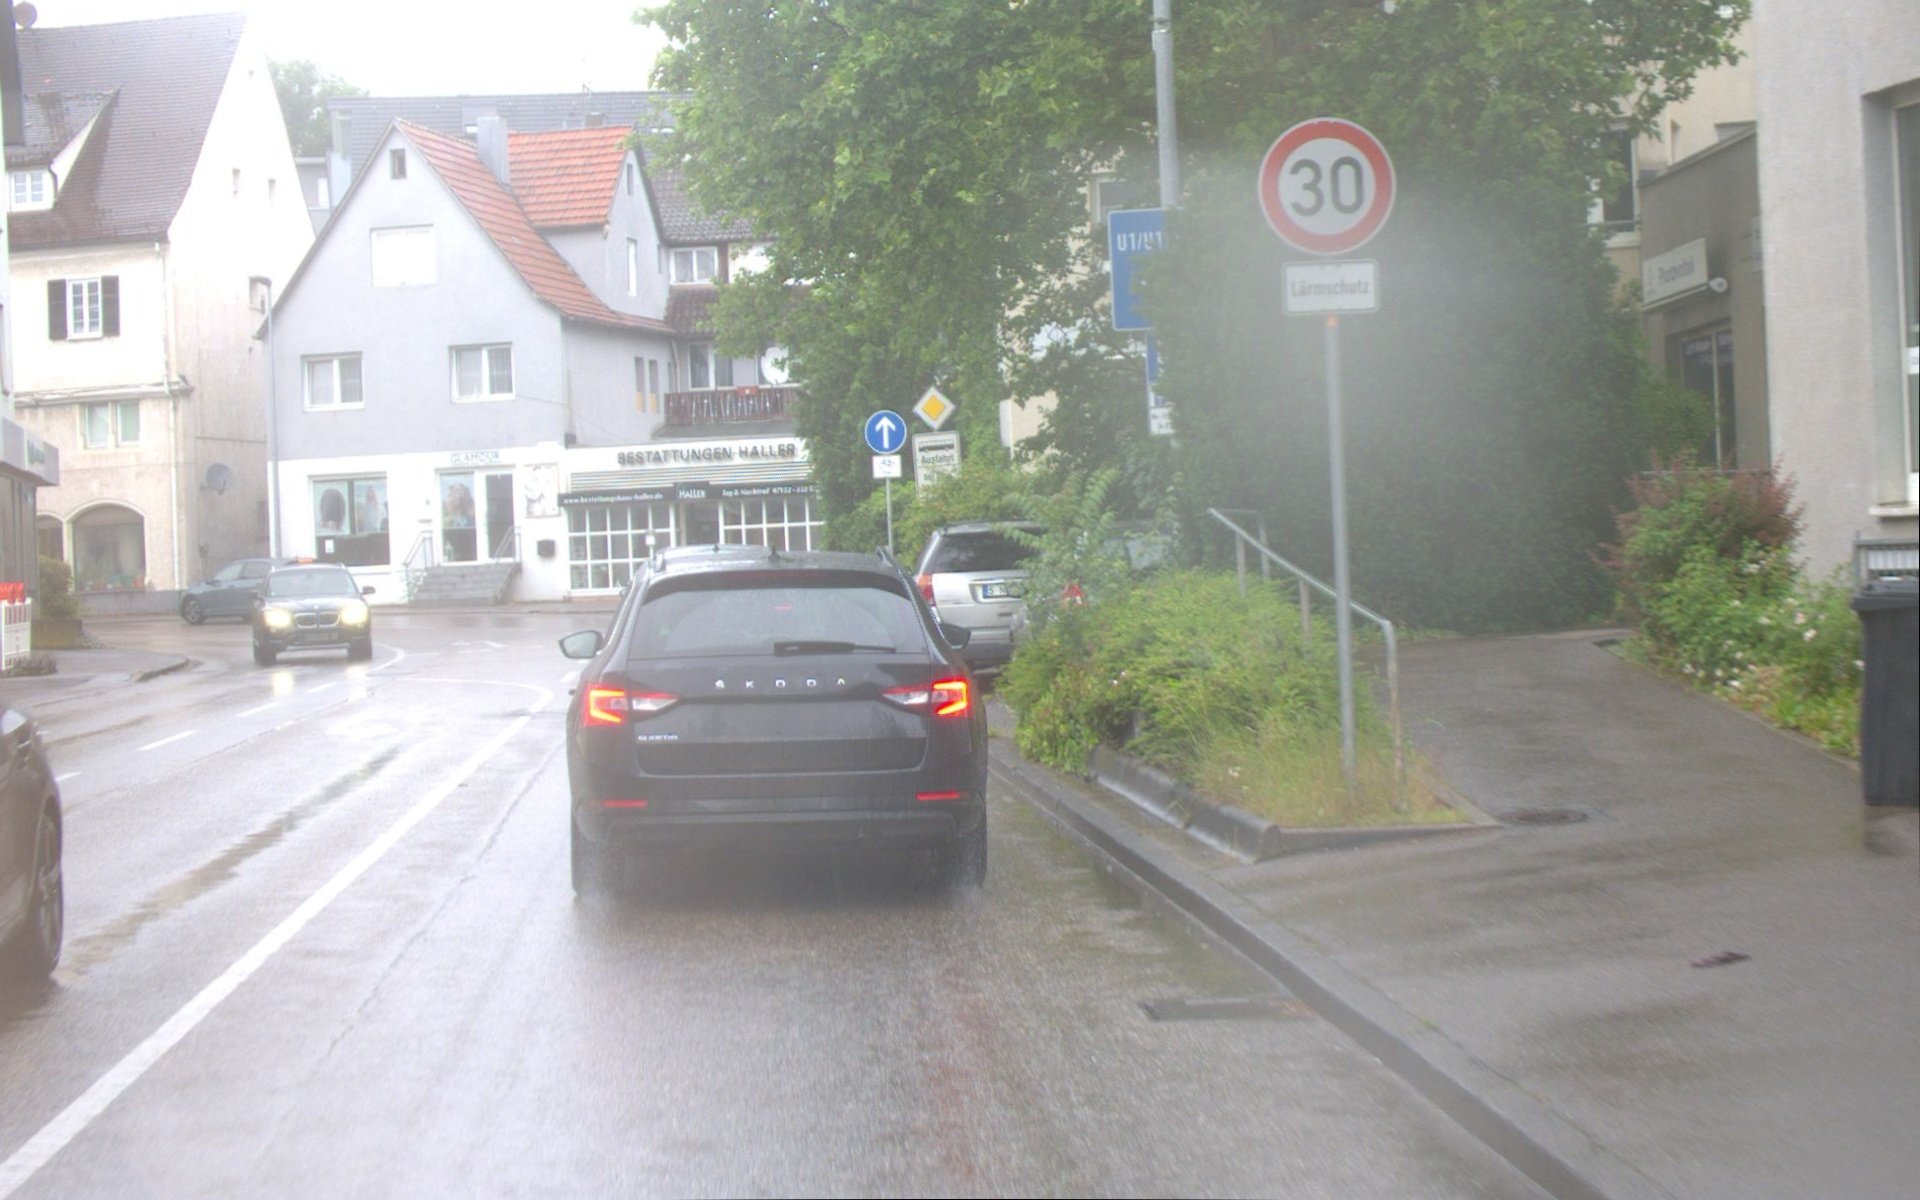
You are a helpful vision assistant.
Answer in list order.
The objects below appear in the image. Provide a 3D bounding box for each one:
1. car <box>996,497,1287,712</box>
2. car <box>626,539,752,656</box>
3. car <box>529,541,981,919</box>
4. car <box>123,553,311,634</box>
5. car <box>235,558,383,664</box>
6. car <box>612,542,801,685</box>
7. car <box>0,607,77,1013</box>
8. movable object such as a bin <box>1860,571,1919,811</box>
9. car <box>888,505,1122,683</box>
[{"bbox_3d":[1.490,0.022,29.570,1.852,1.635,3.539,-3,1,-6],"label":"car"},{"bbox_3d":[-4.125,-0.006,52.743,1.727,1.585,4.184,-1,-2,-2],"label":"car"},{"bbox_3d":[-0.897,0.506,15.868,1.782,1.478,4.246,-1,0,-2],"label":"car"},{"bbox_3d":[-16.743,-0.151,77.496,3.681,1.585,1.896,-3,0,25],"label":"car"},{"bbox_3d":[-10.445,0.196,54.945,1.658,1.565,4.001,-2,0,-20],"label":"car"},{"bbox_3d":[-2.631,0.127,36.086,1.817,1.355,3.990,-2,0,-3],"label":"car"},{"bbox_3d":[-3.980,0.737,10.911,1.616,1.329,3.953,-1,1,-5],"label":"car"},{"bbox_3d":[4.044,0.375,14.402,0.512,0.942,0.602,1,5,14],"label":"movable object such as a bin"},{"bbox_3d":[0.404,-0.075,35.479,1.852,1.635,3.872,-3,1,-6],"label":"car"}]
